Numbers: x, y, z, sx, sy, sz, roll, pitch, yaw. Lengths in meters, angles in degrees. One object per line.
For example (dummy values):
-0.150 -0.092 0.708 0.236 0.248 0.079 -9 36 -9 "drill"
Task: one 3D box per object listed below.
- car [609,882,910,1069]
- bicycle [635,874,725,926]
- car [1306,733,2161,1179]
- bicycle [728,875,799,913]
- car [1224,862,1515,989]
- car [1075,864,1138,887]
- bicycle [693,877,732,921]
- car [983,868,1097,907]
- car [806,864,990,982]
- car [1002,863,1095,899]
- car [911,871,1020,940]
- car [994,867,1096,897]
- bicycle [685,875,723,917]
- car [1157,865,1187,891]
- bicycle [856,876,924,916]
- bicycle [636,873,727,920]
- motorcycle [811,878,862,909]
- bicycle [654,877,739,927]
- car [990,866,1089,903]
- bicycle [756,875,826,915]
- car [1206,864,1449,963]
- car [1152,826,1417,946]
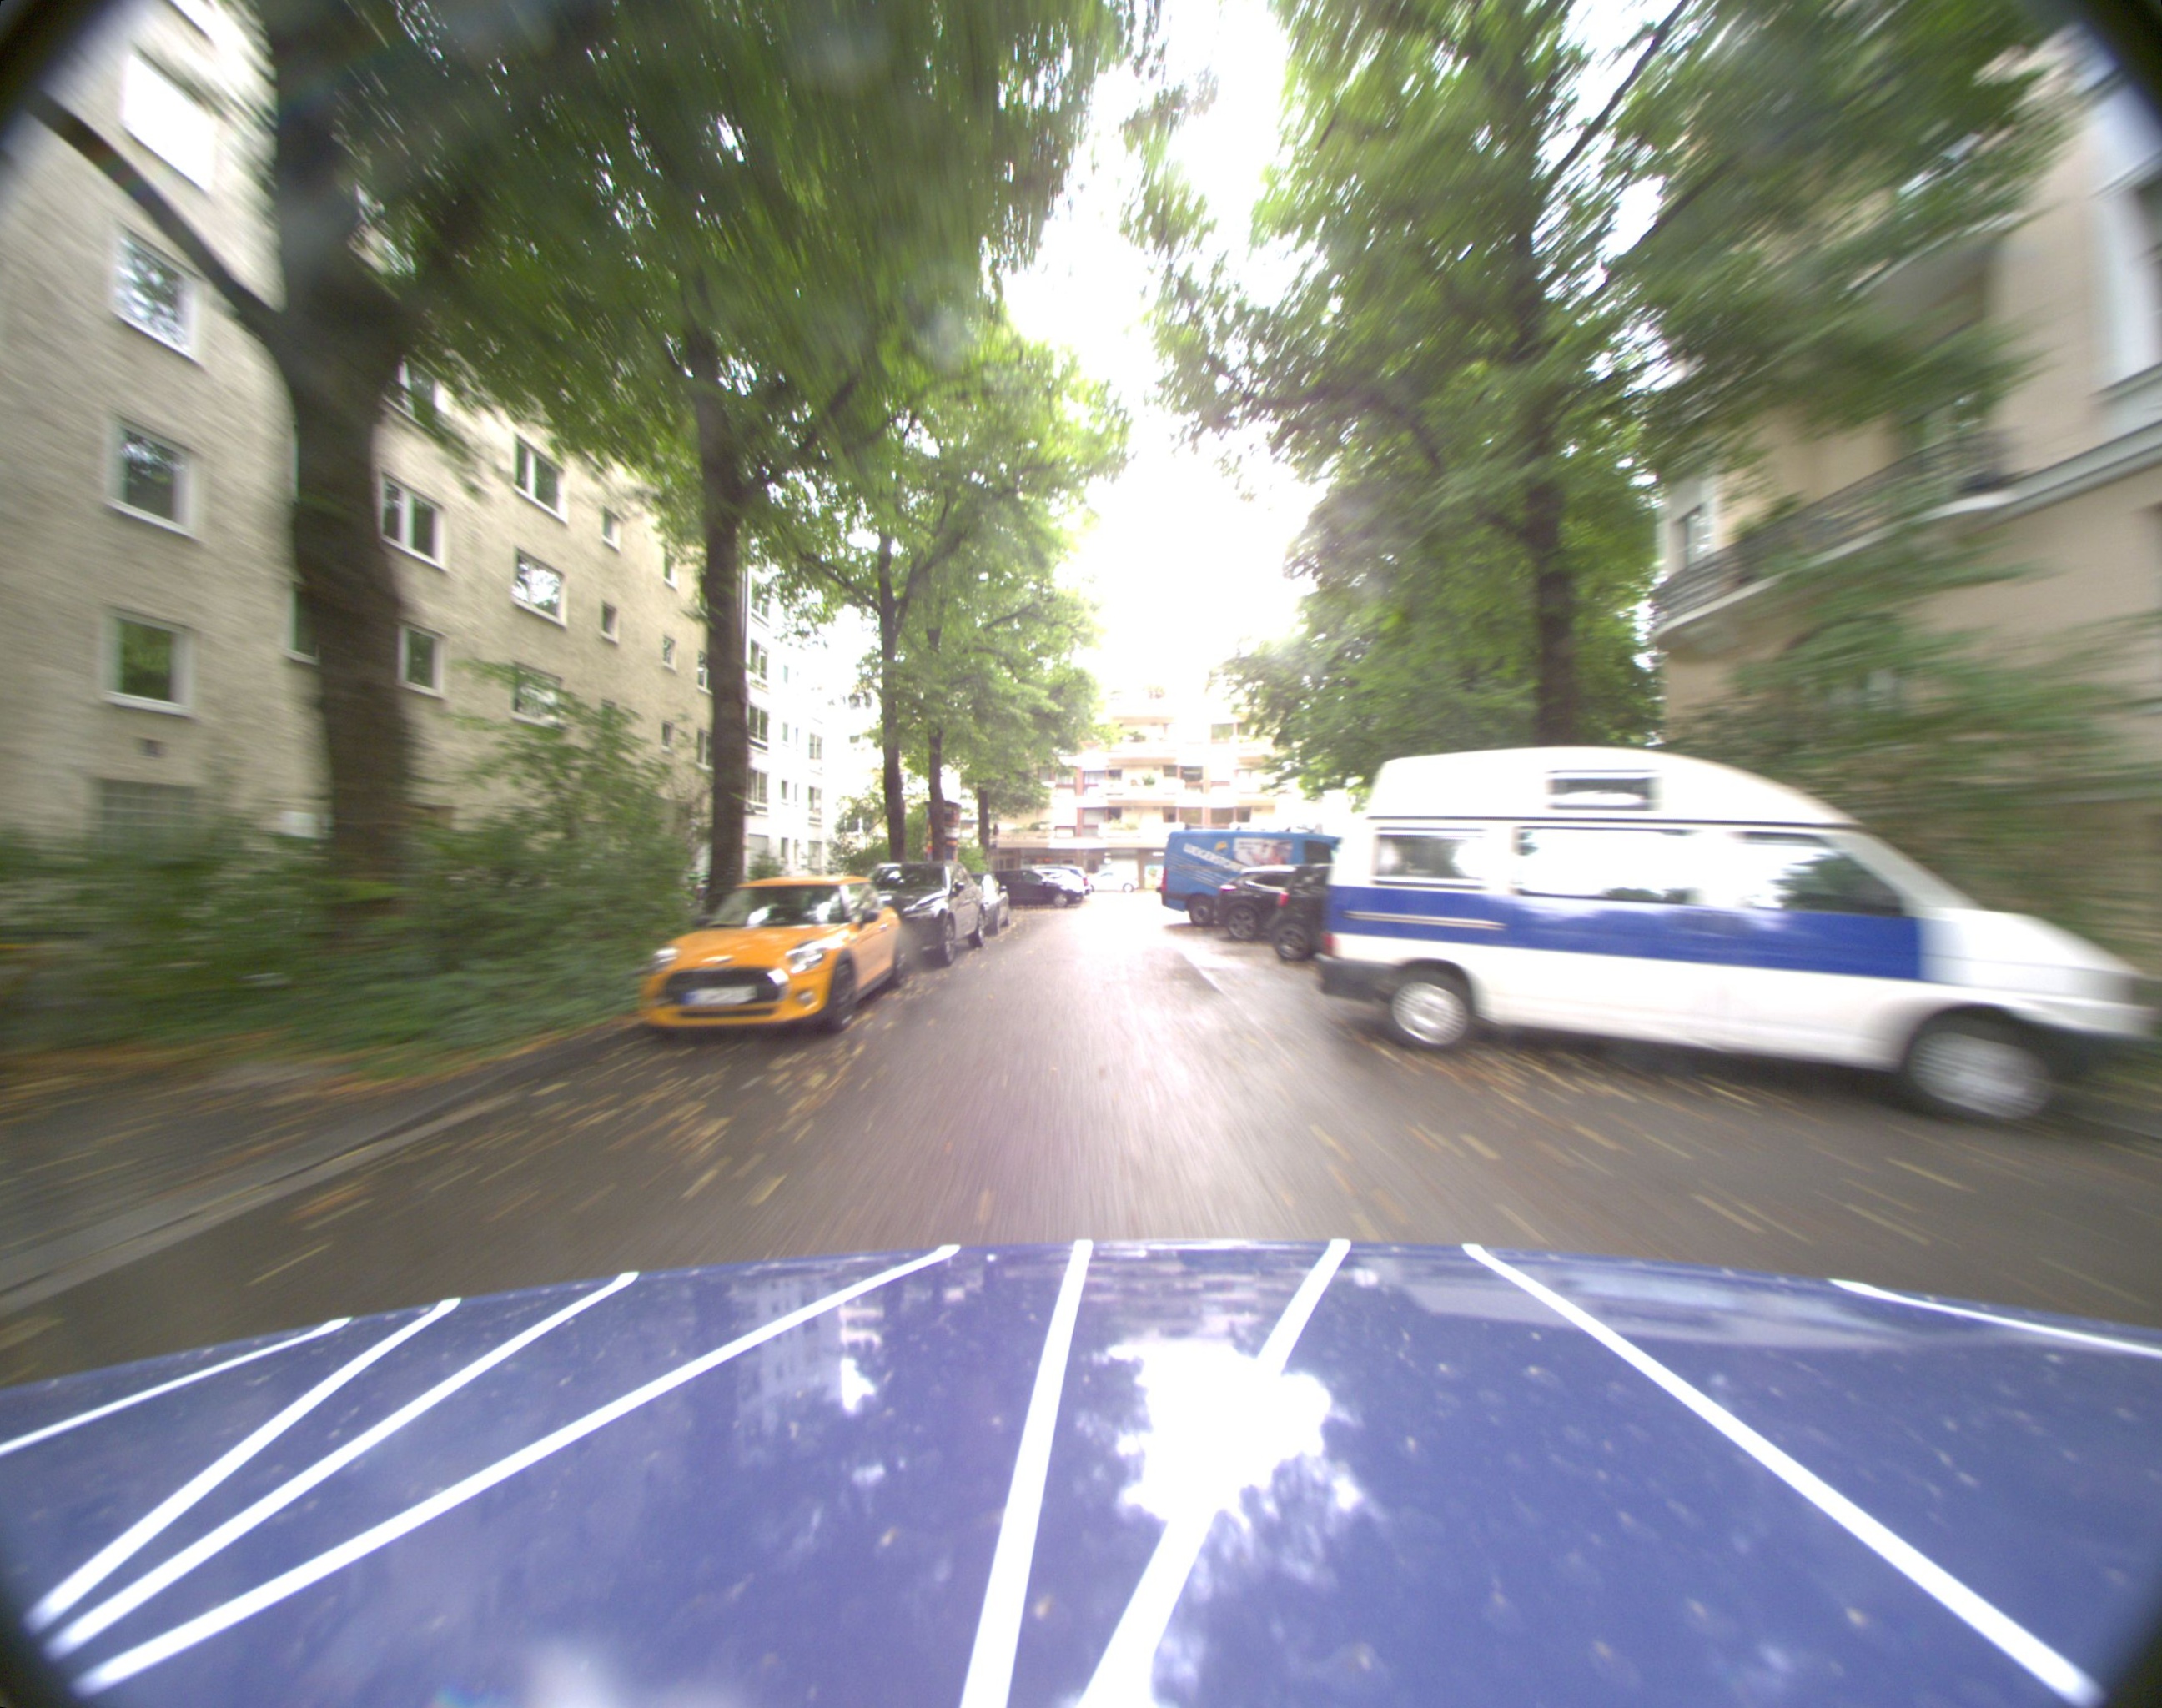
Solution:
-3.002 1.040 7.993 1.622 1.404 3.780 0 -1 -1 "car"
-9.190 1.038 17.452 1.775 1.117 0.444 0 0 -34 "bicycle"
4.271 0.520 5.827 4.571 2.363 1.908 1 0 27 "car"
-9.565 1.198 22.929 1.877 1.117 0.540 0 0 -10 "bicycle"
4.384 0.949 11.697 3.856 1.551 1.819 1 1 33 "car"
1.610 1.357 47.815 3.828 1.412 1.567 0 -3 6 "car"
-9.915 1.186 20.498 0.445 1.117 1.770 0 -1 -9 "bicycle"
-1.484 1.242 28.599 4.091 1.386 1.735 0 0 3 "car"
-2.795 0.981 12.739 1.836 1.619 4.527 0 -1 2 "car"
-1.385 1.159 33.527 3.981 1.546 1.757 0 0 2 "car"
-2.707 1.175 18.857 1.903 1.405 4.430 1 0 1 "car"
-1.699 1.300 36.244 4.731 1.369 1.960 0 0 -2 "car"
-10.681 1.164 21.562 0.445 1.117 1.770 0 -1 -9 "bicycle"
5.510 1.470 46.150 1.719 1.445 4.247 0 -4 7 "car"
-5.834 1.259 23.243 1.873 1.157 0.765 0 0 -35 "bicycle"
-9.969 1.045 19.005 1.949 1.117 0.445 0 0 -14 "bicycle"
-9.581 1.555 29.836 1.807 1.190 0.691 0 0 -5 "motorcycle"
-9.286 1.136 18.377 1.775 1.117 0.444 0 0 -34 "bicycle"
-1.674 1.233 31.157 3.946 1.439 1.826 0 0 -2 "car"
-8.533 1.201 22.405 1.877 1.117 0.540 0 0 -10 "bicycle"
4.600 1.003 14.488 3.988 1.527 1.820 1 1 40 "car"
4.574 0.585 17.652 5.478 2.341 2.070 2 1 37 "car"
